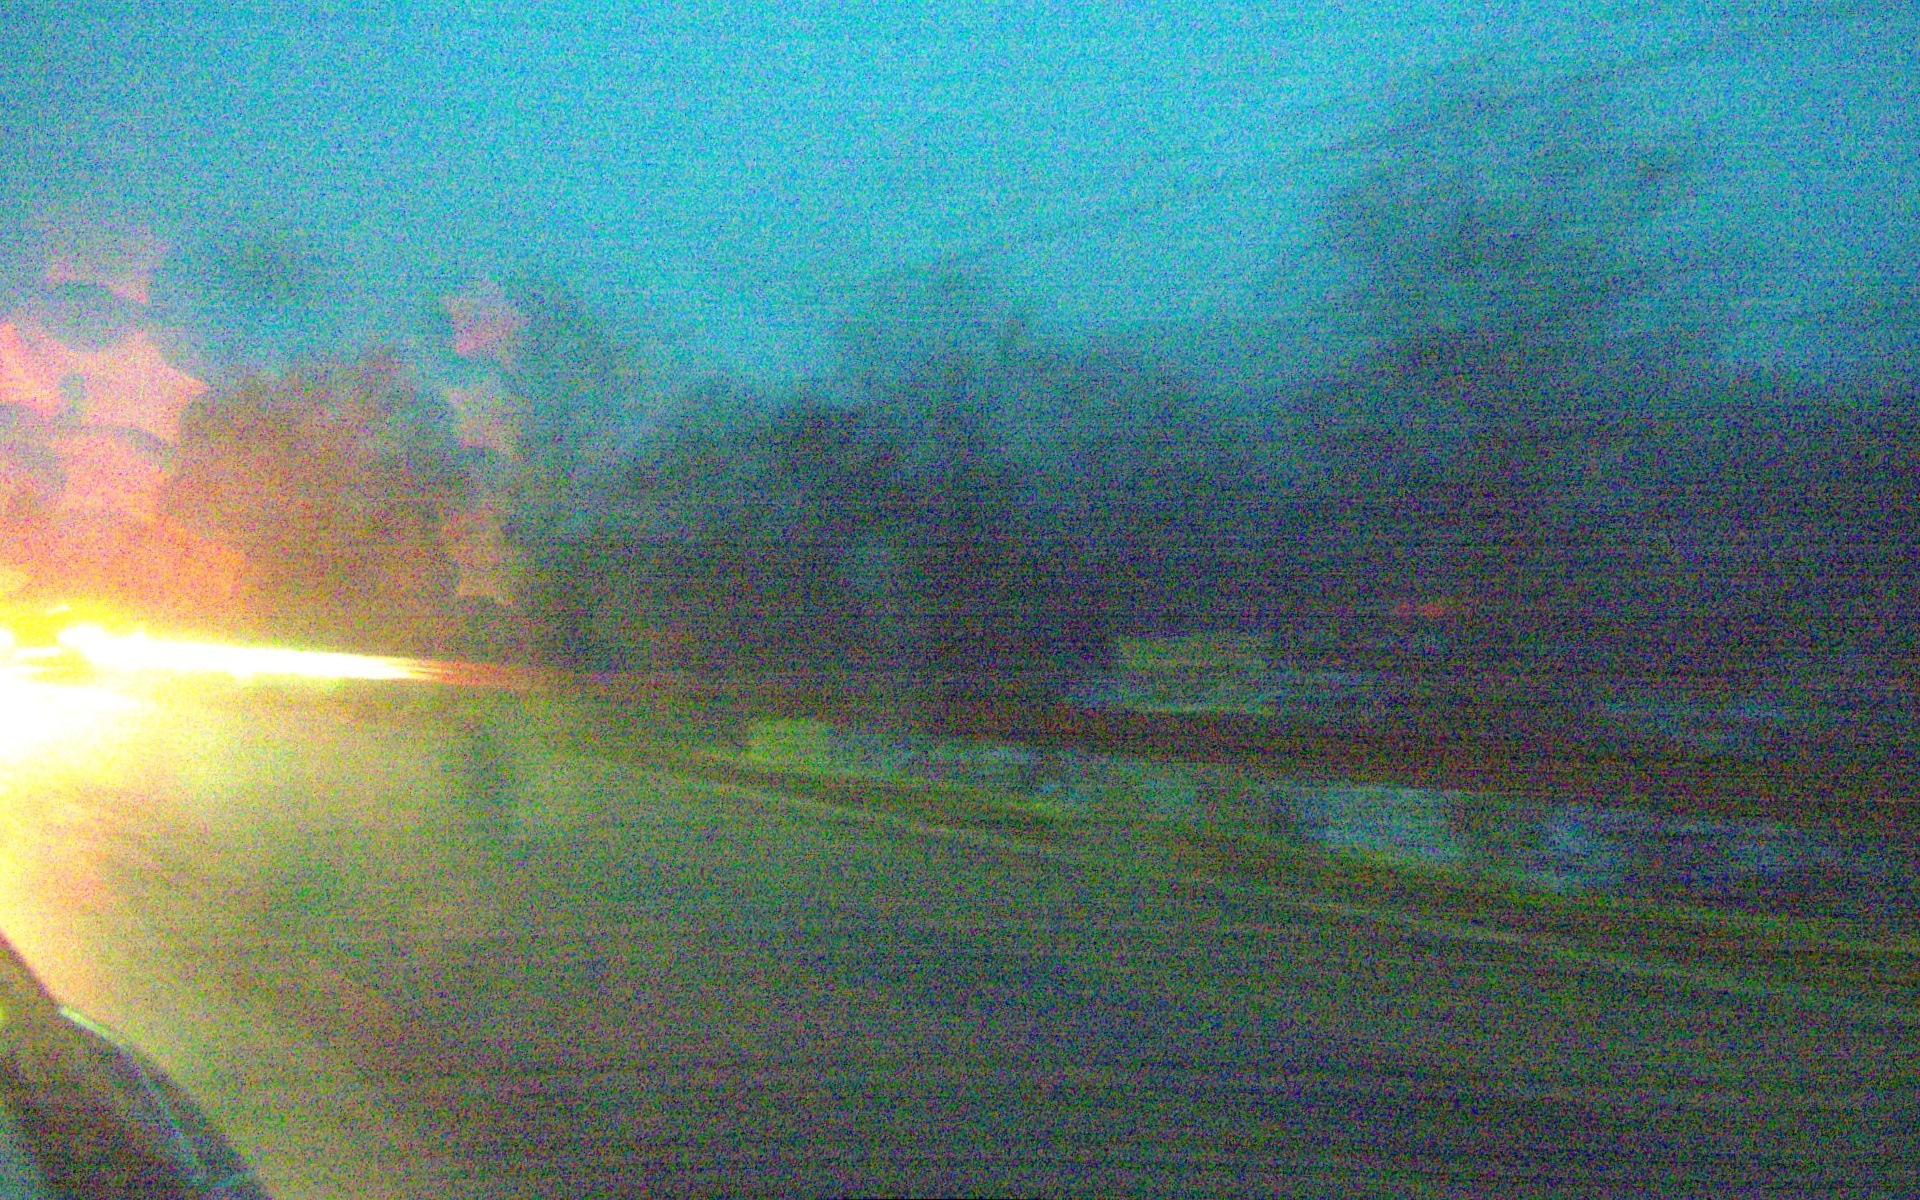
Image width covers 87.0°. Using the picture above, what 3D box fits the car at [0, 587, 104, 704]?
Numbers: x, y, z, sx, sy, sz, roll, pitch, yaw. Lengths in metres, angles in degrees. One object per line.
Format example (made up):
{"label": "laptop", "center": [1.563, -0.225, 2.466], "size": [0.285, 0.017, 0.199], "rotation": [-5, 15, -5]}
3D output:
{"label": "car", "center": [-17.363, 0.788, 18.610], "size": [3.997, 1.954, 1.836], "rotation": [-1, 0, 40]}
